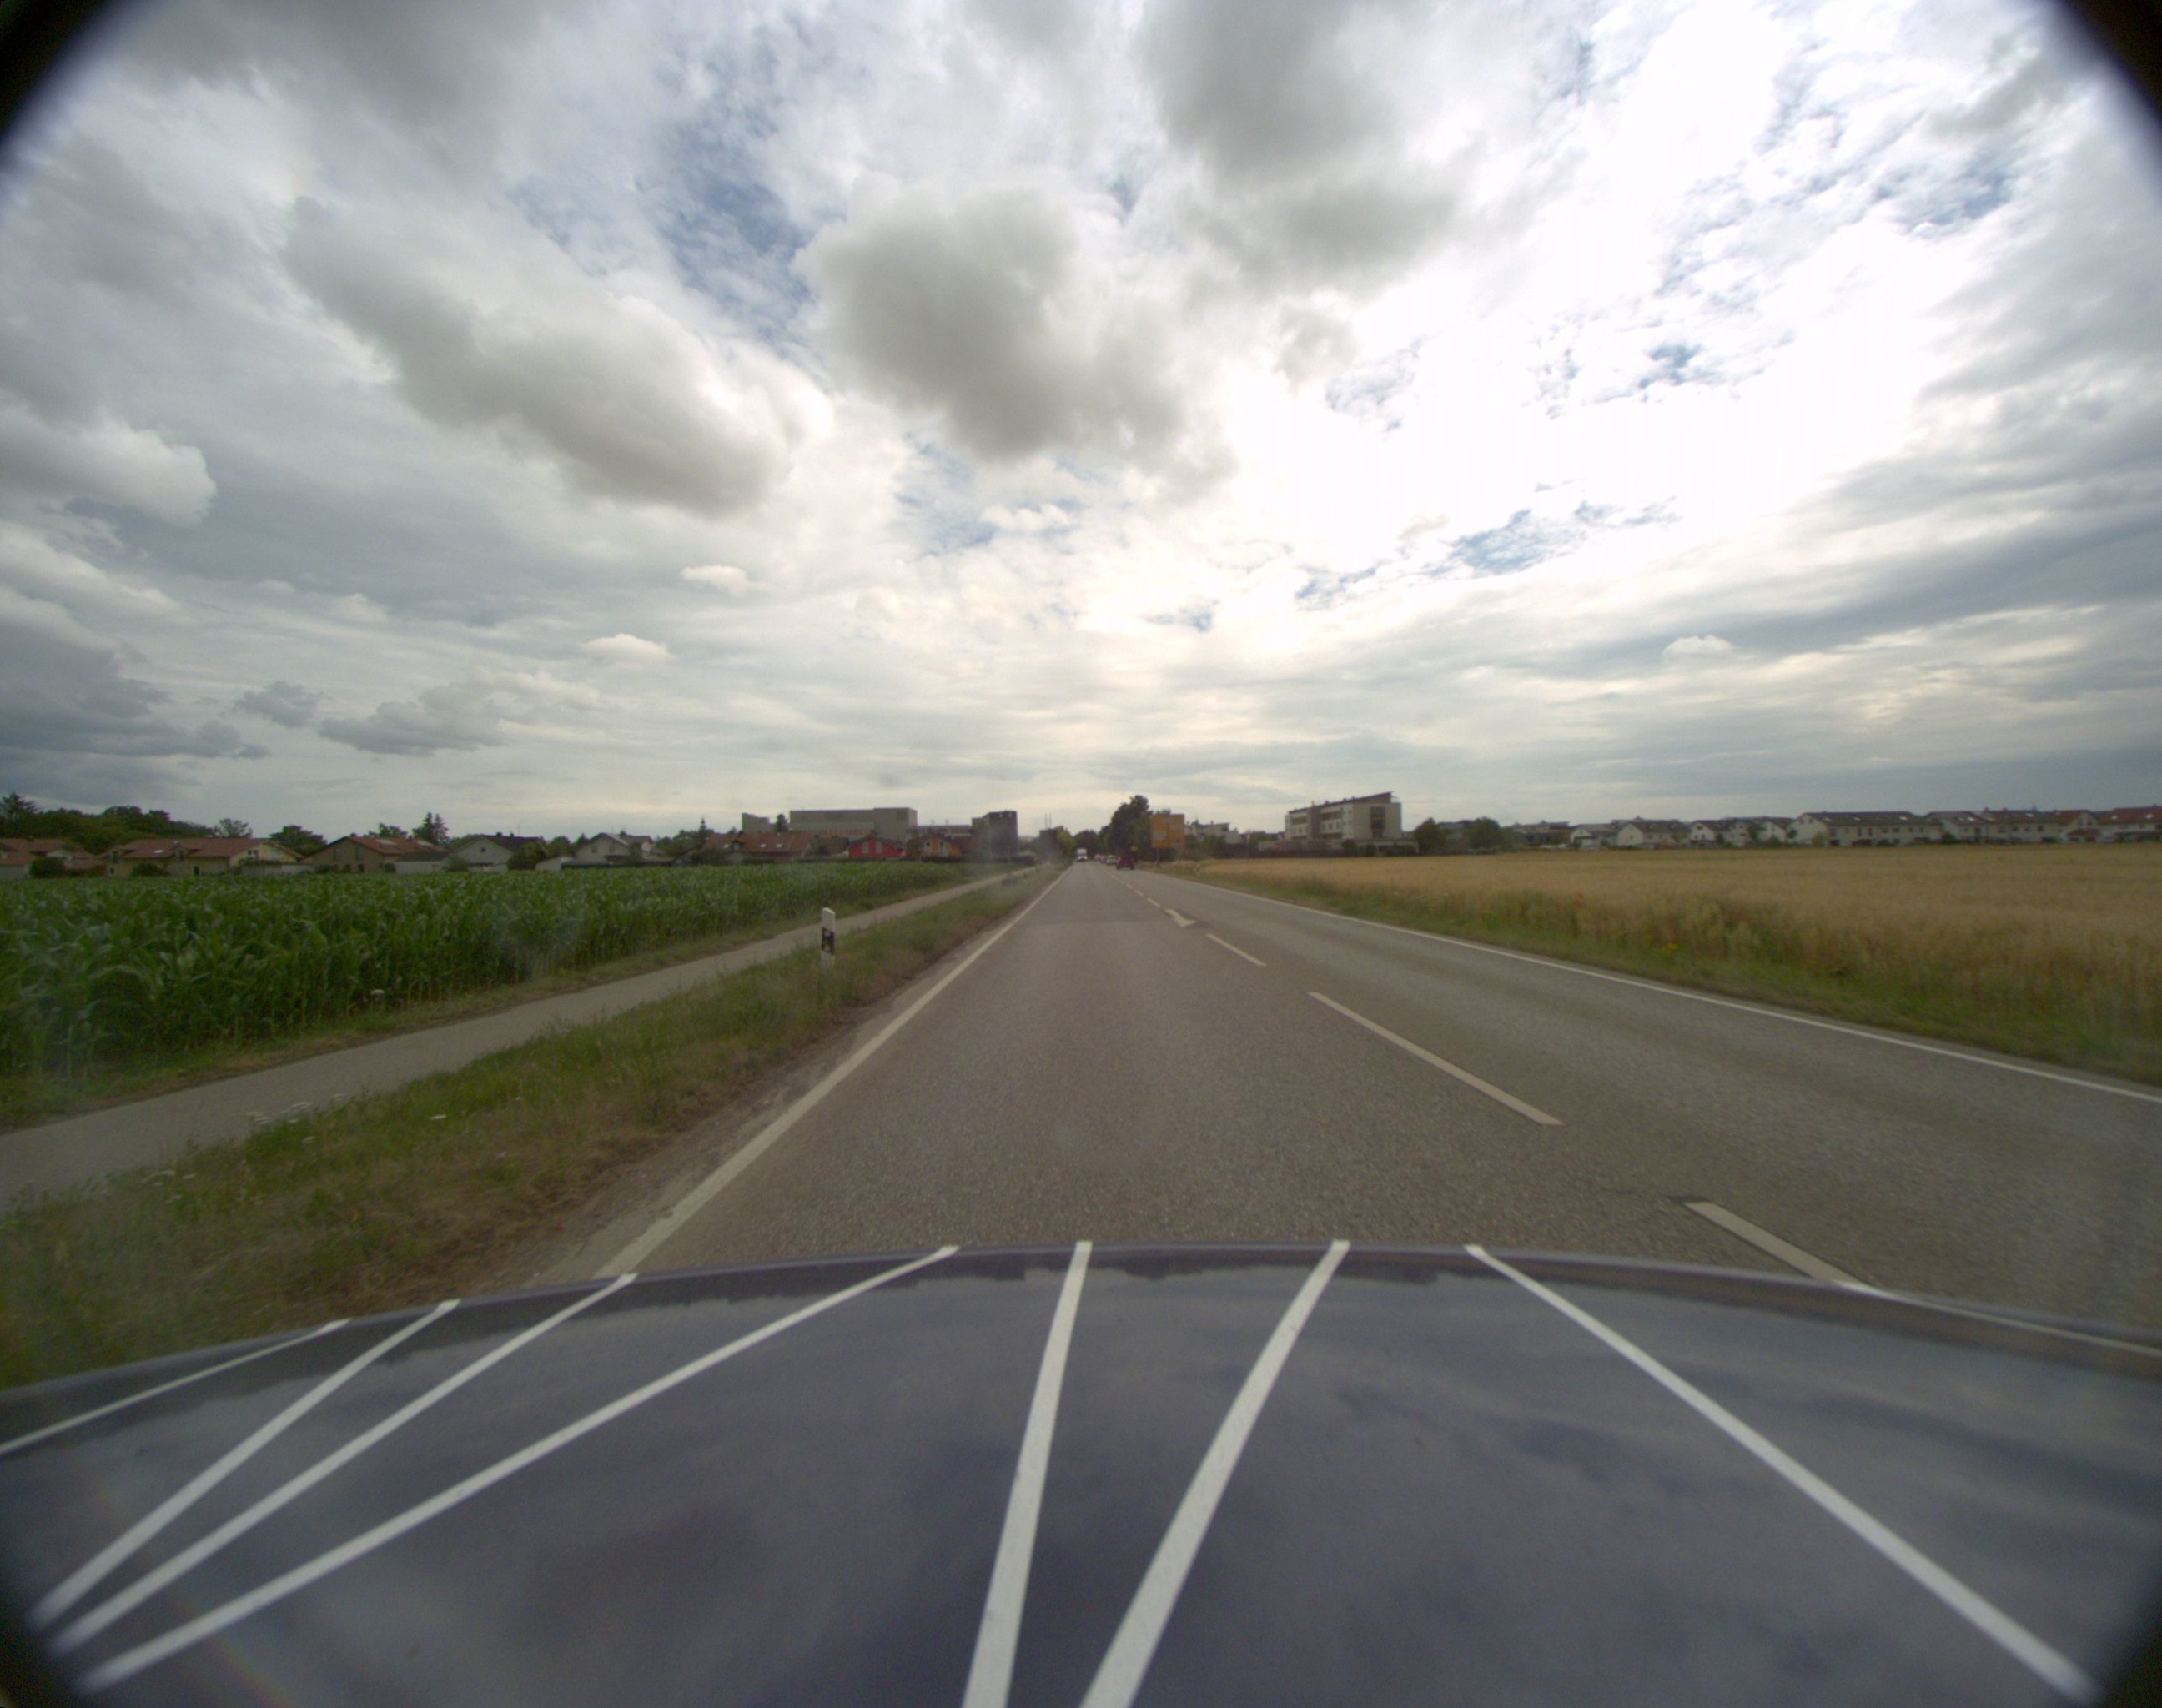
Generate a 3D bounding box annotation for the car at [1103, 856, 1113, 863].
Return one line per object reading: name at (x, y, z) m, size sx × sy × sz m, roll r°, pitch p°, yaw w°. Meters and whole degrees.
car at (5.411, 1.080, 152.880) m, size 1.733 × 1.355 × 3.949 m, roll -1°, pitch 0°, yaw 0°

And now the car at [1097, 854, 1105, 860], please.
car at (5.250, 0.788, 196.668) m, size 1.998 × 1.674 × 4.809 m, roll 0°, pitch 0°, yaw 0°

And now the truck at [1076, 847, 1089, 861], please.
truck at (0.348, -0.099, 192.605) m, size 2.613 × 3.427 × 7.509 m, roll -2°, pitch 0°, yaw 3°

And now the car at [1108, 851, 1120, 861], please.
car at (5.114, 0.295, 118.735) m, size 1.811 × 1.448 × 4.113 m, roll -1°, pitch 0°, yaw 0°

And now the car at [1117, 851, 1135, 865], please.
car at (4.881, 0.446, 82.323) m, size 1.716 × 1.480 × 4.608 m, roll -1°, pitch 0°, yaw 0°
